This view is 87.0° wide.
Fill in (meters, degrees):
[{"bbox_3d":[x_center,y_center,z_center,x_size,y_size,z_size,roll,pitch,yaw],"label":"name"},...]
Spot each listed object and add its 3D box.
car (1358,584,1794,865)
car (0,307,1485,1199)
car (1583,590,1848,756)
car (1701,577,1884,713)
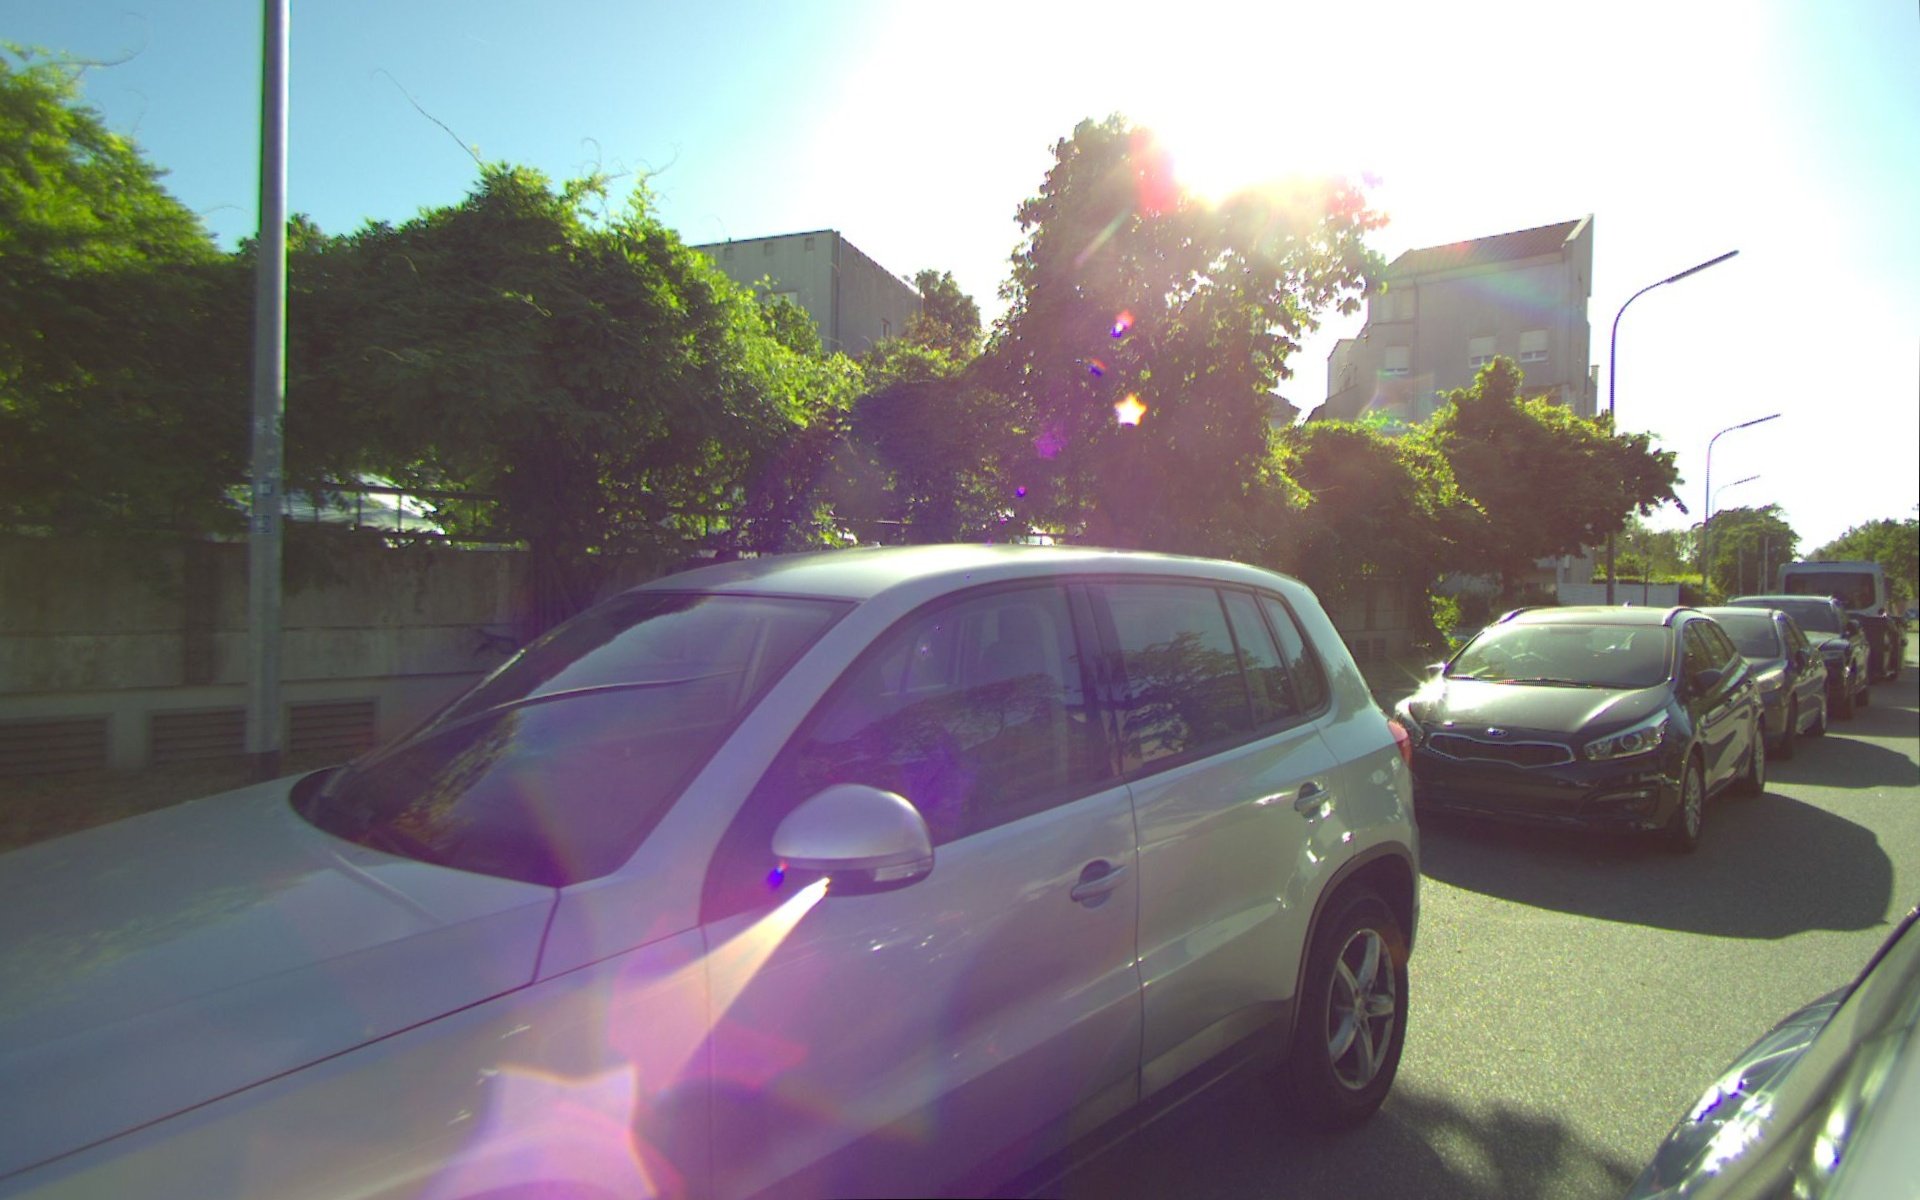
[{"bbox_3d":[4.781,0.670,7.550,4.297,1.498,1.755,0,-1,-44],"label":"car"},{"bbox_3d":[-0.368,0.573,2.552,3.915,1.707,1.757,0,1,-42],"label":"car"},{"bbox_3d":[8.457,0.654,11.208,3.837,1.497,1.756,0,1,-44],"label":"car"},{"bbox_3d":[12.202,0.544,14.746,1.754,1.716,3.840,1,1,44],"label":"car"}]
